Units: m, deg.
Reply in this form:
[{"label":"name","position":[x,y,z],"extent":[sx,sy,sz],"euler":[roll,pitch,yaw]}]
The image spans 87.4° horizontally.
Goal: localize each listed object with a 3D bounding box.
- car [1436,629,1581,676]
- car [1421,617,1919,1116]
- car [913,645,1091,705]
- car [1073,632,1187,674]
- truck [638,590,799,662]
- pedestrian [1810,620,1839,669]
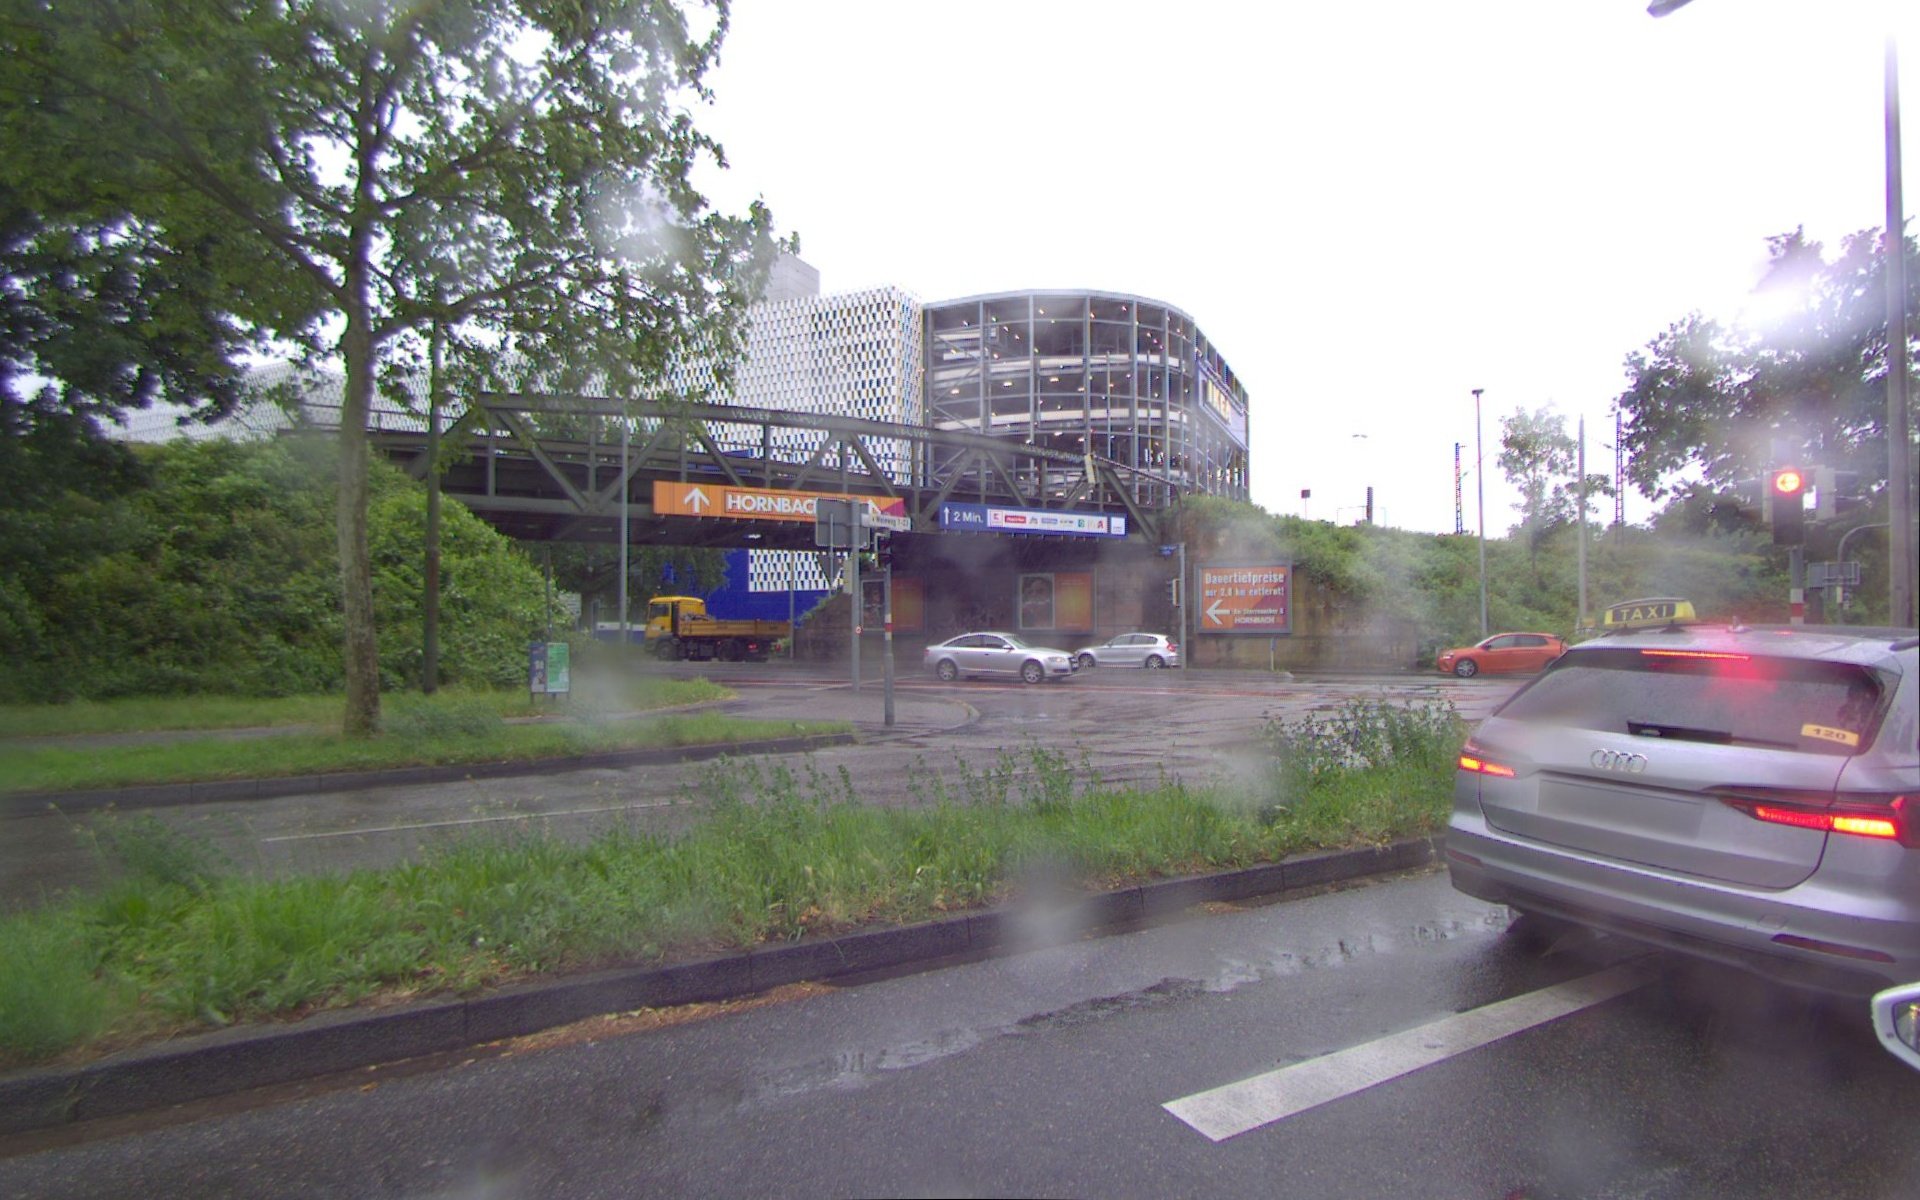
[{"label":"car","position":[17.631,1.660,32.489],"extent":[3.923,1.448,1.717],"euler":[-1,-2,23]},{"label":"car","position":[4.371,0.840,4.792],"extent":[4.521,1.452,1.682],"euler":[1,-1,-30]},{"label":"car","position":[1.251,2.191,30.160],"extent":[4.961,1.553,1.998],"euler":[0,-1,27]},{"label":"car","position":[6.375,1.960,37.741],"extent":[3.923,1.505,1.818],"euler":[-1,-2,23]},{"label":"truck","position":[-11.019,1.174,45.762],"extent":[6.914,3.094,2.646],"euler":[-1,-2,23]},{"label":"pedestrian","position":[32.357,1.675,37.593],"extent":[0.661,1.809,0.533],"euler":[2,0,-12]}]
